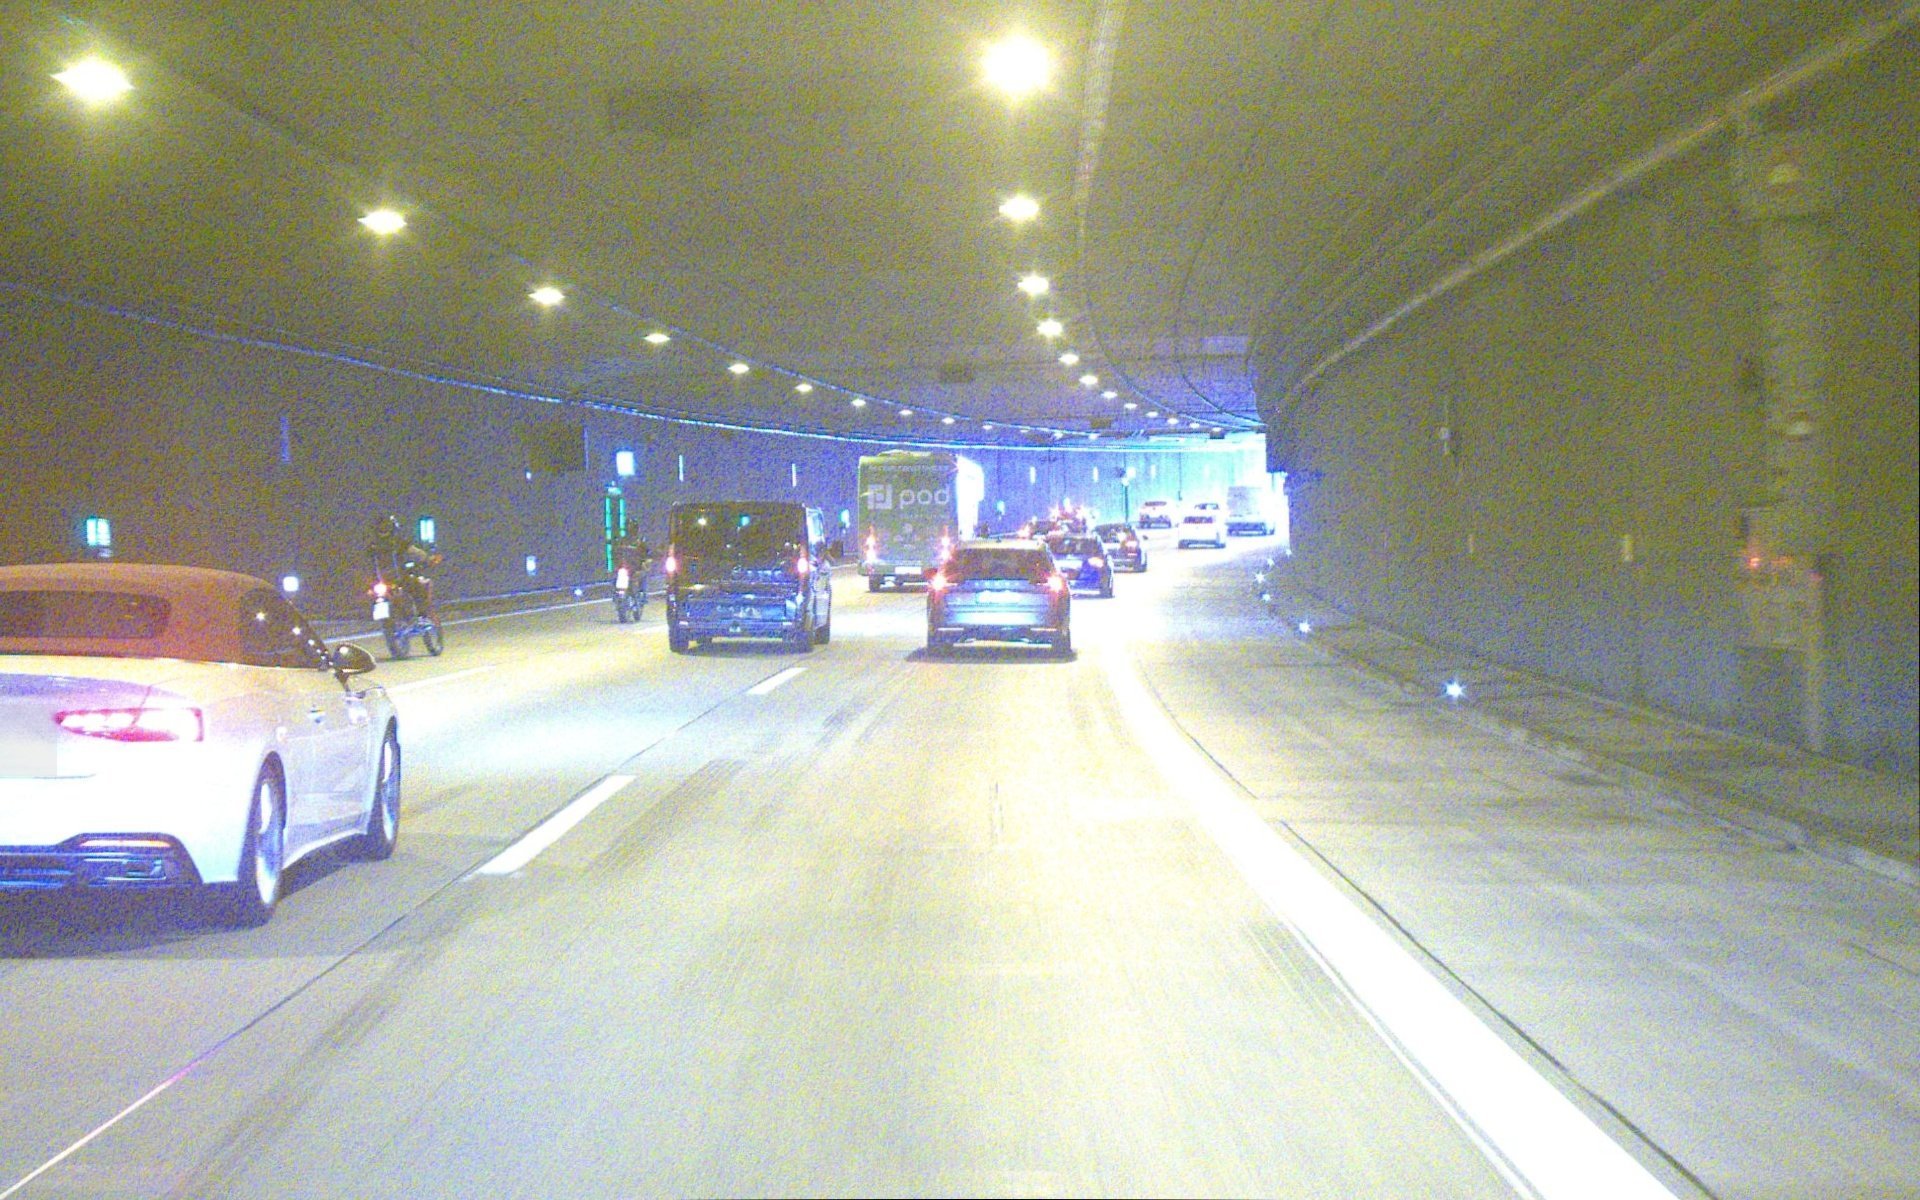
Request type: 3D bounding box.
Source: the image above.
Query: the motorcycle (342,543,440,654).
[{"bbox_3d":[-6.817,-0.020,41.284,0.683,1.292,2.398,0,0,2],"label":"motorcycle"}]

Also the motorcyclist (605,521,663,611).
[{"bbox_3d":[-5.399,-0.556,56.962,0.806,1.443,1.865,0,-1,-1],"label":"motorcyclist"}]

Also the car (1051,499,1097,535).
[{"bbox_3d":[5.332,-3.880,160.202,1.931,1.637,4.000,0,1,4],"label":"car"}]

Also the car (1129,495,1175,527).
[{"bbox_3d":[10.491,-4.859,187.670,1.931,1.637,3.998,0,0,12],"label":"car"}]

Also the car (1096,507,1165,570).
[{"bbox_3d":[5.086,-1.828,102.961,1.950,1.766,4.000,0,0,2],"label":"car"}]

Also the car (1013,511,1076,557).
[{"bbox_3d":[3.062,-2.371,123.952,1.994,1.626,3.999,1,1,5],"label":"car"}]

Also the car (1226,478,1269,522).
[{"bbox_3d":[14.157,-4.917,168.935,1.994,2.007,3.999,0,0,6],"label":"car"}]

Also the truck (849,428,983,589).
[{"bbox_3d":[-1.050,-2.148,82.297,3.039,3.660,7.393,0,1,-1],"label":"truck"}]

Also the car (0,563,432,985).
[{"bbox_3d":[-3.485,0.585,14.603,1.702,1.414,5.060,0,1,0],"label":"car"}]

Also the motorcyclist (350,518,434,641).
[{"bbox_3d":[-6.812,-0.239,41.282,0.777,1.447,1.069,0,0,3],"label":"motorcyclist"}]

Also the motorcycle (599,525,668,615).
[{"bbox_3d":[-5.390,-0.475,56.919,0.926,1.429,2.964,1,0,-2],"label":"motorcycle"}]

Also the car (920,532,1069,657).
[{"bbox_3d":[0.482,-0.106,43.878,1.742,1.459,3.871,0,2,3],"label":"car"}]

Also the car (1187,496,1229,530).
[{"bbox_3d":[13.028,-4.545,180.200,1.994,1.626,3.999,0,0,7],"label":"car"}]

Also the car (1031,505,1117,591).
[{"bbox_3d":[2.521,-1.164,76.614,1.857,1.848,4.000,0,1,1],"label":"car"}]

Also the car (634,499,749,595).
[{"bbox_3d":[-5.714,-1.137,73.610,1.994,2.007,4.000,0,1,2],"label":"car"}]

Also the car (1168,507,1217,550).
[{"bbox_3d":[9.614,-2.935,141.978,1.931,1.637,3.999,0,0,5],"label":"car"}]

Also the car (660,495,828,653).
[{"bbox_3d":[-2.770,-0.385,44.861,1.909,1.937,3.871,0,2,1],"label":"car"}]
